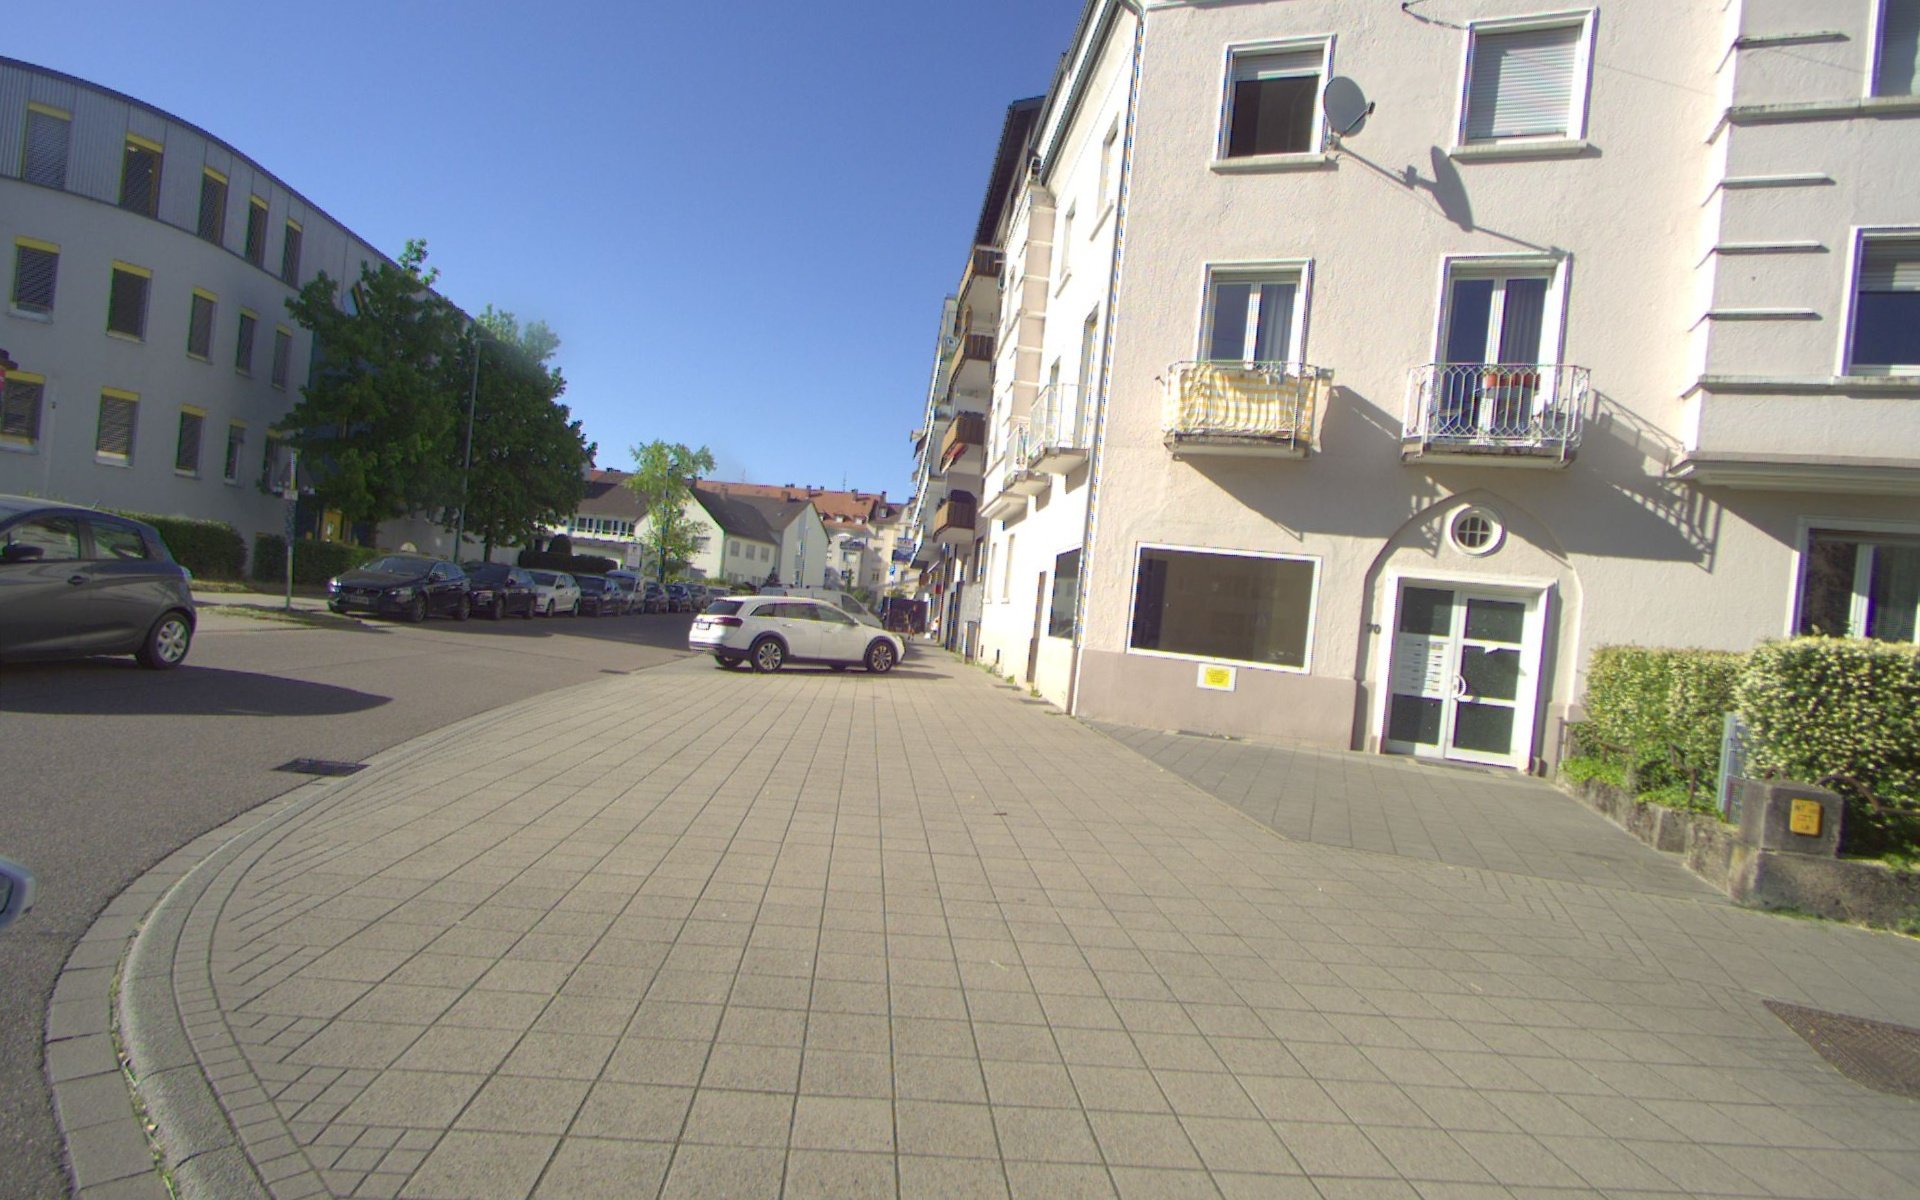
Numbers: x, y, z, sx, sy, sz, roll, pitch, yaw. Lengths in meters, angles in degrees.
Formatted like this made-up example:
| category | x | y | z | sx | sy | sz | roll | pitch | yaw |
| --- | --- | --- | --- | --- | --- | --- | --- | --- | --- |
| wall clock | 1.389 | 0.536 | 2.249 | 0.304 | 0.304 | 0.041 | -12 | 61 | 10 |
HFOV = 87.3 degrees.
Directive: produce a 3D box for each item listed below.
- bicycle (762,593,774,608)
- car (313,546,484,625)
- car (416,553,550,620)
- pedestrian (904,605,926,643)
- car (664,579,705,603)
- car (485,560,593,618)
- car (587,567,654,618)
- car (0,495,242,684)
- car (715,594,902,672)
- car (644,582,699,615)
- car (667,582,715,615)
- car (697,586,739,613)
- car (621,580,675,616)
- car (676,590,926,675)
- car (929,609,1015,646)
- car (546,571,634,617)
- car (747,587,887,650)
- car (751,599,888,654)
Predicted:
| category | x | y | z | sx | sy | sz | roll | pitch | yaw |
| --- | --- | --- | --- | --- | --- | --- | --- | --- | --- |
| bicycle | -18.678 | 0.026 | 97.965 | 0.449 | 1.264 | 1.931 | 6 | -3 | 7 |
| car | -12.546 | -0.286 | 22.824 | 1.763 | 1.427 | 4.220 | 7 | -1 | -6 |
| car | -13.035 | -0.308 | 27.822 | 1.881 | 1.496 | 4.378 | 7 | -2 | -6 |
| pedestrian | -2.030 | 1.077 | 45.542 | 0.820 | 1.613 | 0.889 | 5 | 0 | 0 |
| car | -23.371 | -0.732 | 85.483 | 1.772 | 1.573 | 3.192 | 5 | -3 | 18 |
| car | -13.548 | -0.285 | 32.693 | 1.881 | 1.548 | 4.622 | 7 | -2 | -6 |
| car | -14.345 | -0.318 | 42.753 | 1.663 | 1.861 | 4.336 | 6 | -1 | -7 |
| car | -8.707 | -0.155 | 8.922 | 1.810 | 1.521 | 4.138 | 6 | -2 | -5 |
| car | -3.672 | 0.832 | 24.738 | 4.139 | 1.514 | 1.804 | 7 | -3 | -39 |
| car | -15.120 | -0.066 | 52.926 | 1.700 | 1.483 | 4.437 | 7 | -1 | -4 |
| car | -15.559 | -0.068 | 58.392 | 1.694 | 1.605 | 4.419 | 7 | -1 | -4 |
| car | -16.444 | -0.022 | 68.588 | 1.964 | 1.553 | 4.913 | 7 | 0 | -5 |
| car | -14.689 | -0.083 | 47.520 | 1.575 | 1.458 | 3.996 | 7 | -1 | -7 |
| car | -3.242 | 0.715 | 21.146 | 4.832 | 1.483 | 1.951 | 4 | 1 | -40 |
| car | 0.612 | 1.470 | 54.036 | 4.326 | 1.531 | 1.978 | 5 | -1 | -5 |
| car | -13.761 | -0.182 | 37.665 | 1.707 | 1.457 | 4.610 | 6 | -1 | -3 |
| car | -4.930 | 0.668 | 35.198 | 2.025 | 1.921 | 4.502 | 2 | -2 | 44 |
| car | -4.409 | 0.850 | 31.805 | 3.959 | 1.507 | 1.602 | 4 | -2 | -37 |
